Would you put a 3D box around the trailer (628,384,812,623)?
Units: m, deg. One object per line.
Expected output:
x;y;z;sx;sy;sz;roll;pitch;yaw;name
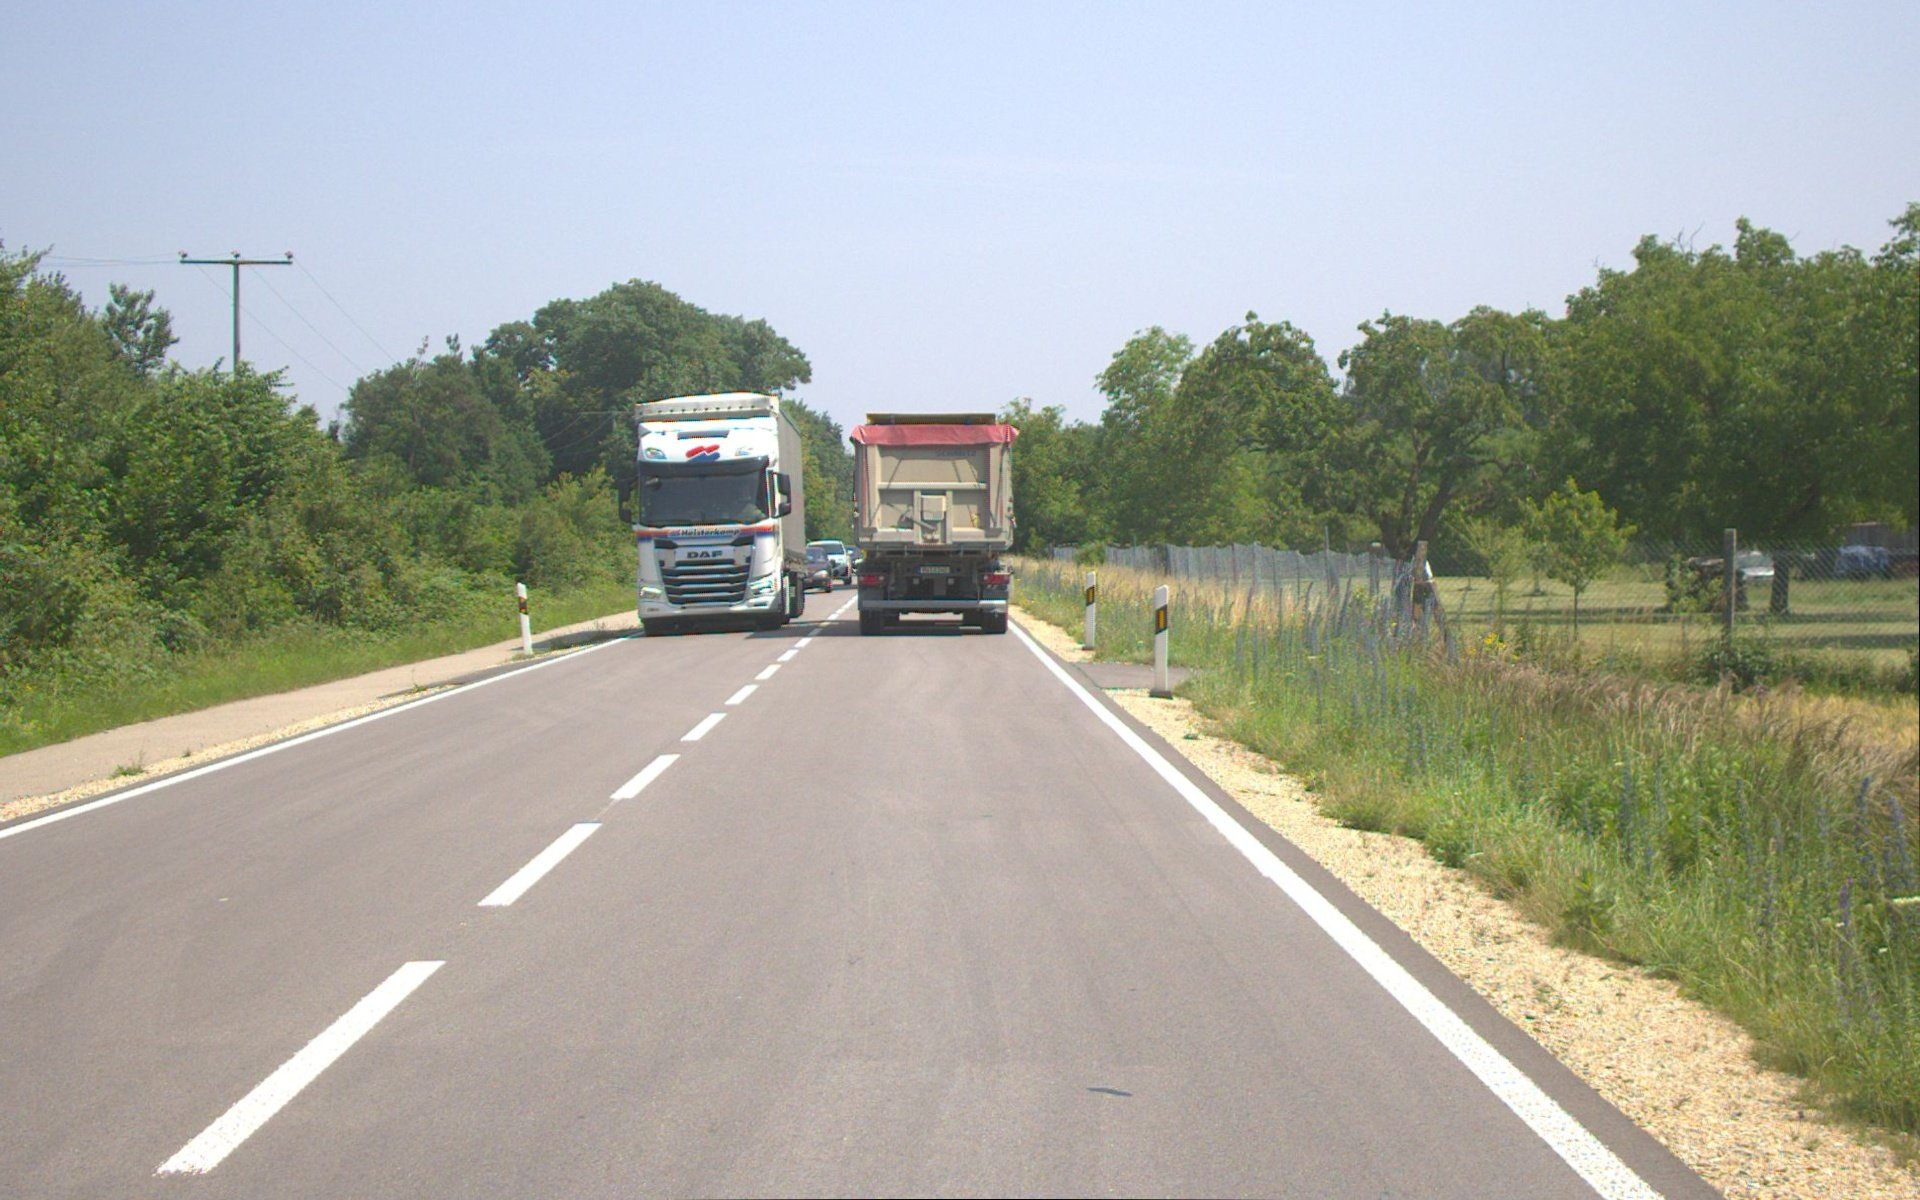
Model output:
-4.662;-1.895;69.556;2.717;4.251;13.811;-2;1;0;trailer

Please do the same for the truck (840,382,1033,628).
-0.449;-1.600;61.015;3.009;3.861;12.210;1;1;-1;truck

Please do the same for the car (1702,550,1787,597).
25.742;-0.881;112.938;1.592;1.481;3.429;-1;2;-8;car

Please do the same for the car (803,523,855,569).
-4.840;-2.014;127.483;1.758;1.601;4.482;-3;1;-1;car

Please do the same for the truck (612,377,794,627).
-4.641;-1.781;63.478;2.717;4.251;7.390;-2;1;0;truck

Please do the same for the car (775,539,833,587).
-4.850;-1.163;107.210;1.694;1.401;4.046;-3;1;-2;car
